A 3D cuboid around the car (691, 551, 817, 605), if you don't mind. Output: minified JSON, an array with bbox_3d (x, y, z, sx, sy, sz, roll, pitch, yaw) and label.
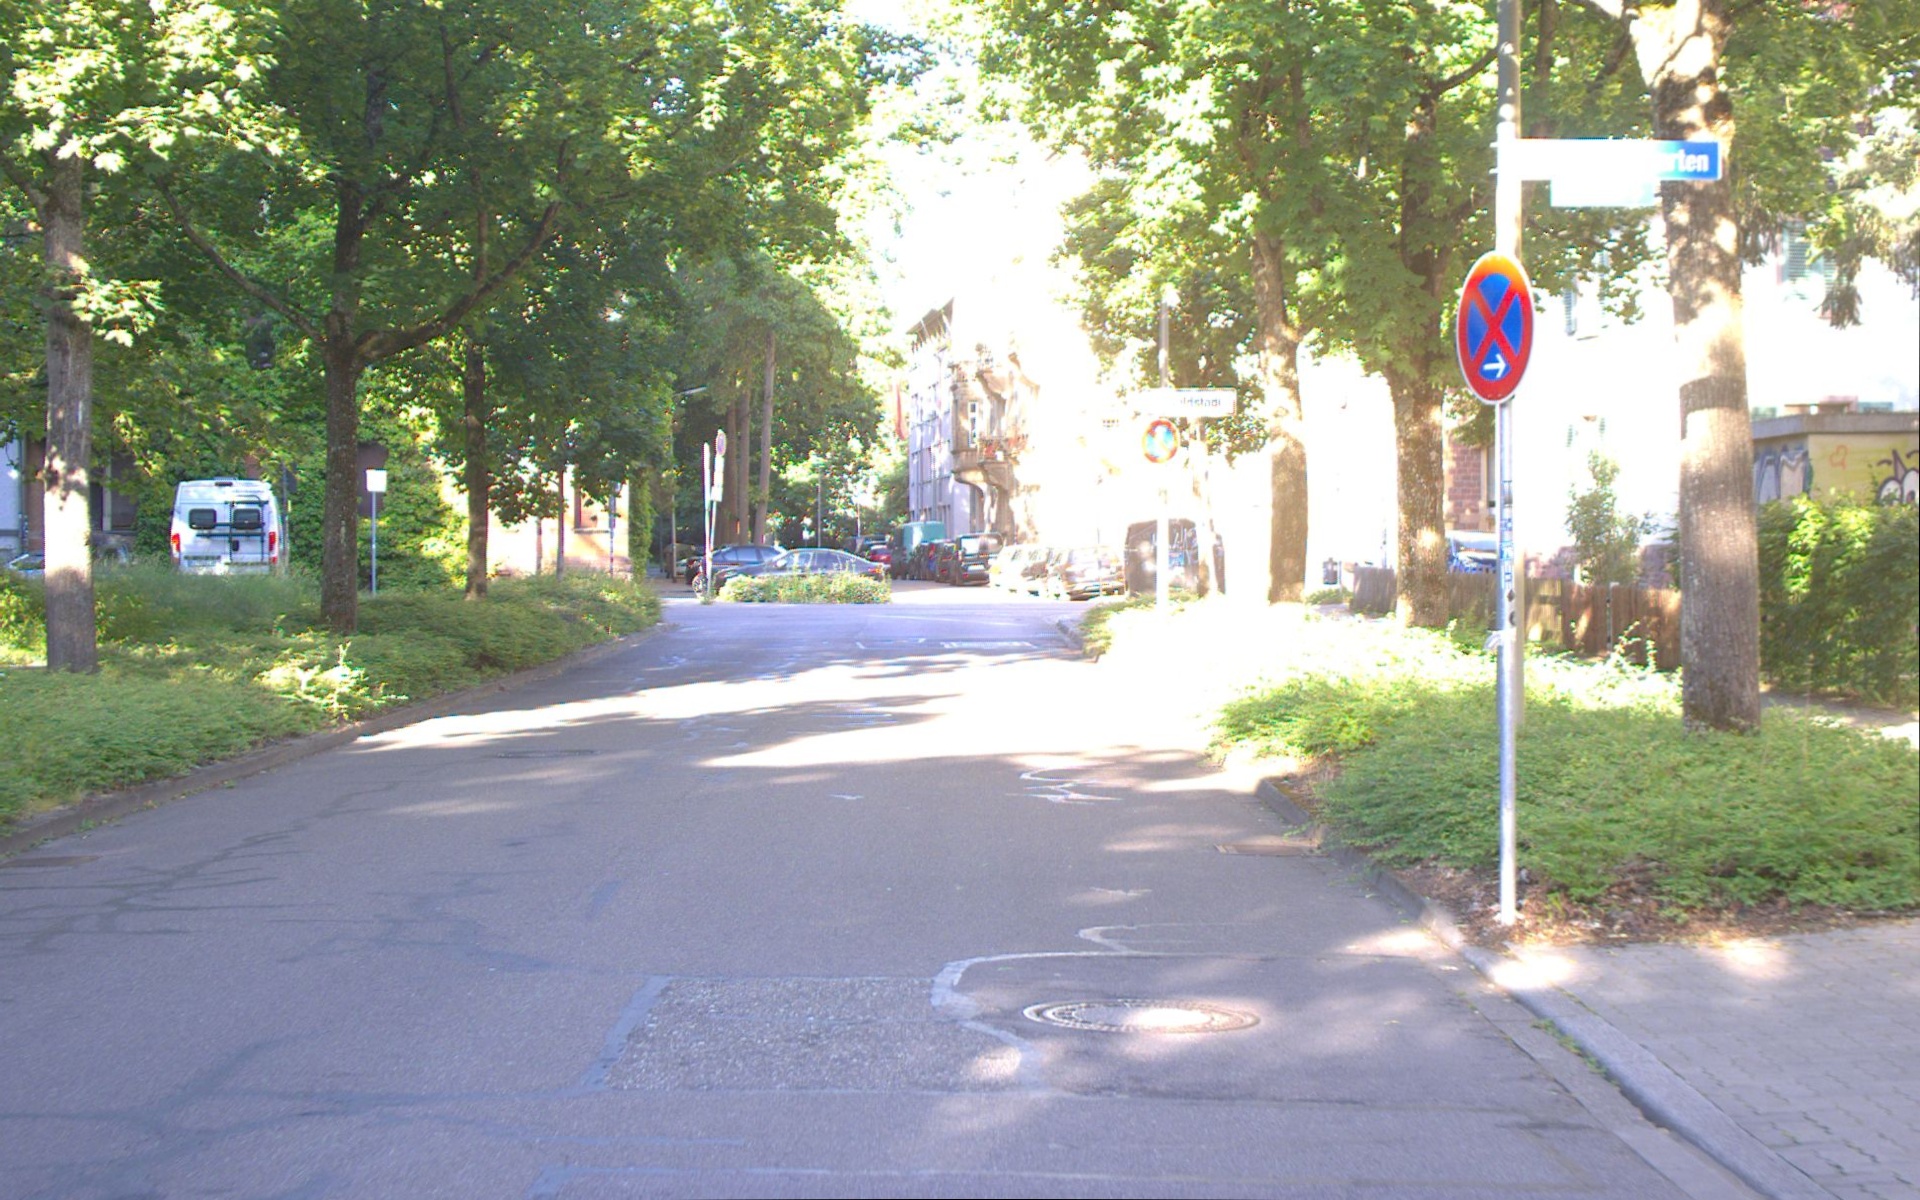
[{"bbox_3d":[-6.092,-0.649,101.712,3.586,1.505,1.500,1,1,-8],"label":"car"}]

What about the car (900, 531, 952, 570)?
[{"bbox_3d":[-1.360,-1.955,135.066,1.811,1.496,4.001,1,1,-4],"label":"car"}]

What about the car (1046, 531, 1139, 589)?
[{"bbox_3d":[3.504,-1.076,91.466,1.811,1.496,4.001,0,1,-7],"label":"car"}]

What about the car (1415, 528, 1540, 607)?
[{"bbox_3d":[10.729,-0.689,71.492,1.993,1.579,3.640,1,1,-1],"label":"car"}]

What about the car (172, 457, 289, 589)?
[{"bbox_3d":[-14.415,-1.518,68.100,1.993,2.499,4.001,1,1,-9],"label":"car"}]

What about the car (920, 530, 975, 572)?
[{"bbox_3d":[-0.486,-1.831,128.288,1.811,1.496,4.001,1,1,-4],"label":"car"}]

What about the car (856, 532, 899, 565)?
[{"bbox_3d":[-3.891,-2.448,161.905,1.811,1.496,4.001,1,1,-4],"label":"car"}]

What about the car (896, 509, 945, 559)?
[{"bbox_3d":[-1.683,-2.774,145.016,1.811,2.043,4.001,1,1,-4],"label":"car"}]

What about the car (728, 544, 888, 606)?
[{"bbox_3d":[-3.965,-0.645,89.271,3.986,1.496,1.818,1,1,-8],"label":"car"}]

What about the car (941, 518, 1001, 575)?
[{"bbox_3d":[0.369,-1.878,119.965,1.811,1.919,4.001,1,1,-4],"label":"car"}]
